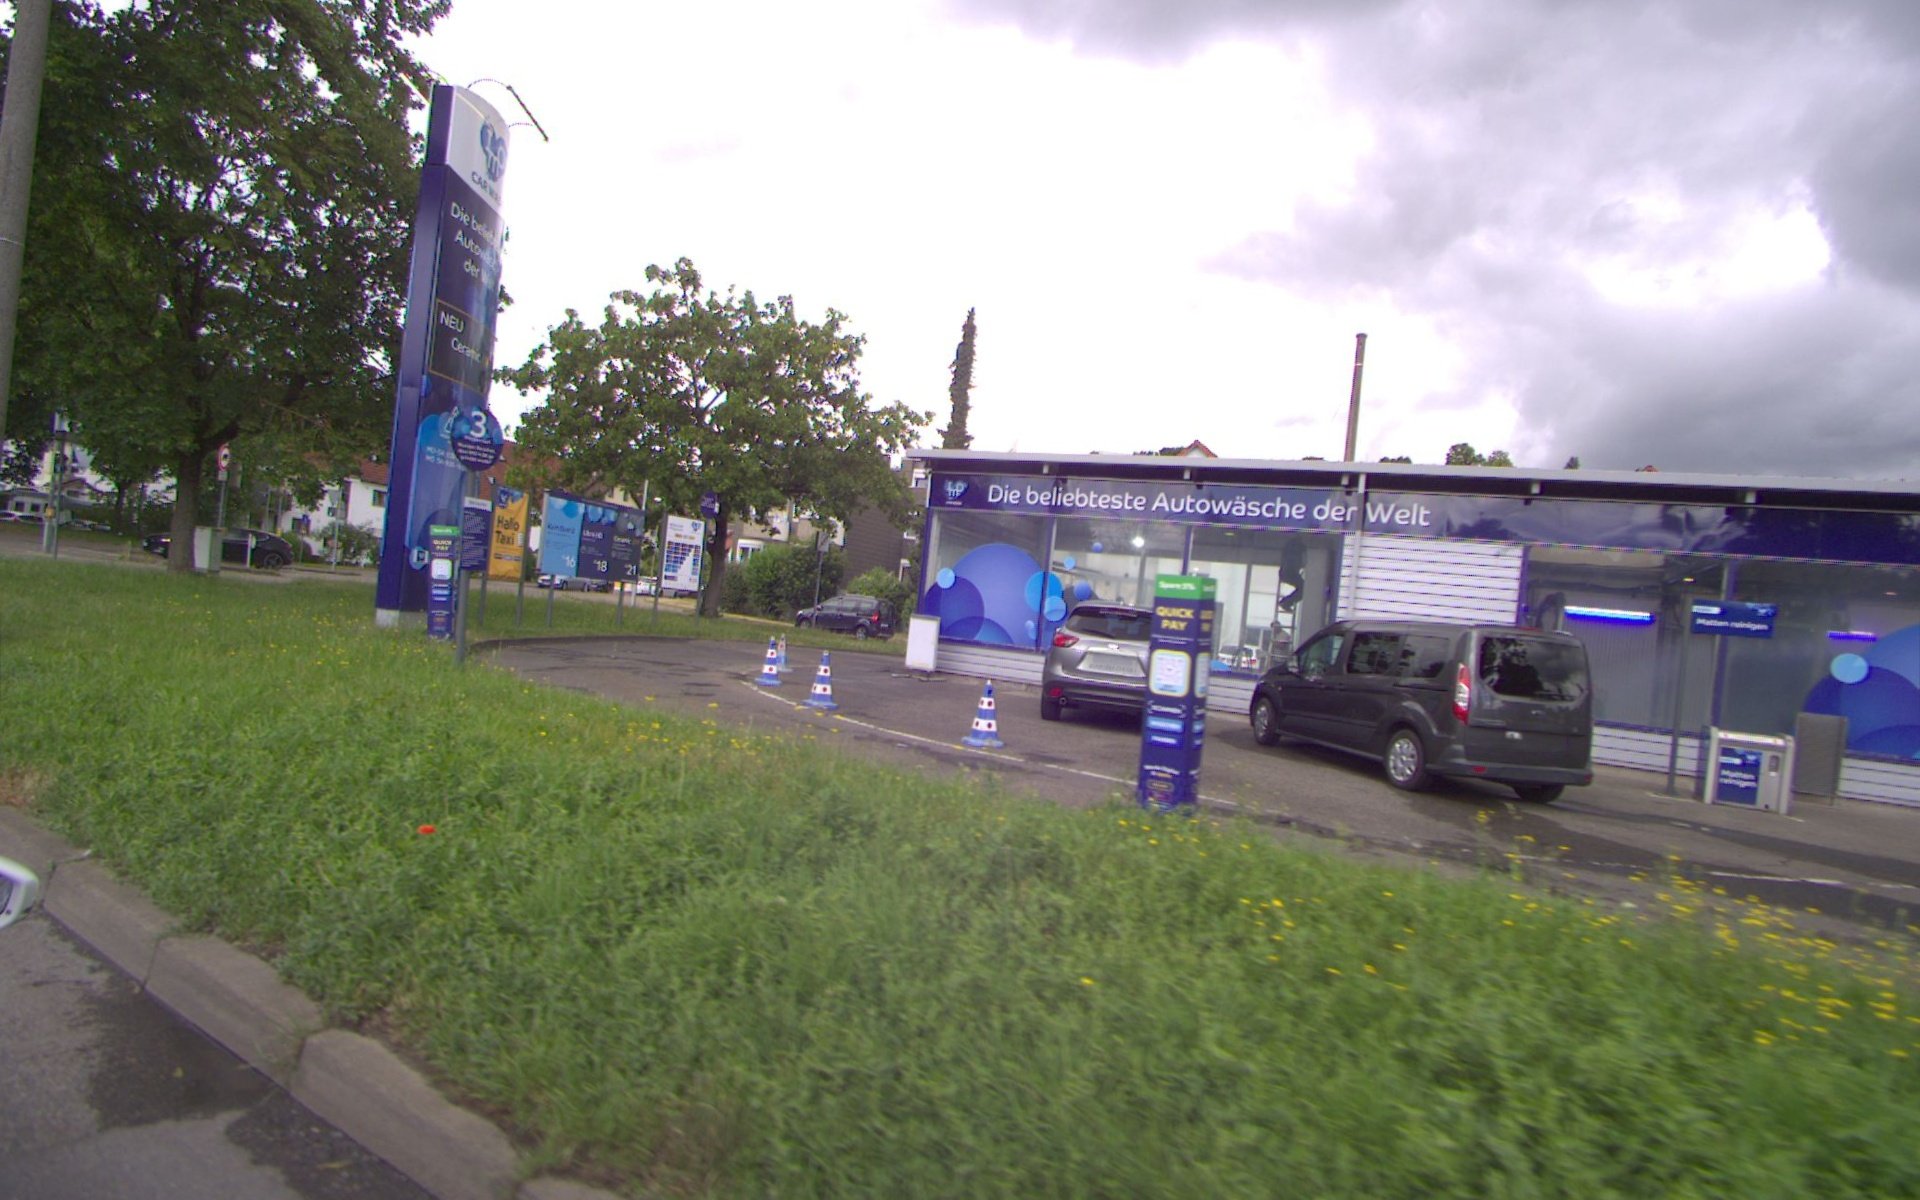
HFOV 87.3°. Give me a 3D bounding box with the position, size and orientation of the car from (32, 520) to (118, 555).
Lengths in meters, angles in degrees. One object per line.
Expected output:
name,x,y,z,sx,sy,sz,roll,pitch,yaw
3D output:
car,-47.283,-3.326,53.744,3.785,1.260,1.629,7,-3,18

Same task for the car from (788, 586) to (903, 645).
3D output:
car,-4.757,0.634,41.579,4.331,1.863,1.723,6,-3,28

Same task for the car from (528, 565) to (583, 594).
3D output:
car,-28.231,-1.375,70.333,1.963,1.441,4.474,8,-3,-1

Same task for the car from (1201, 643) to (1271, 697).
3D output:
car,10.946,2.800,39.728,1.886,1.713,3.816,6,-3,25

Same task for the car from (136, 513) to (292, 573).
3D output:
car,-26.822,-2.033,36.290,1.679,1.544,4.153,6,-2,37

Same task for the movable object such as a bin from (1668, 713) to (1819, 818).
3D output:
movable object such as a bin,9.491,1.977,12.260,1.168,0.988,1.160,6,0,28

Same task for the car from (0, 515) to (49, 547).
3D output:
car,-53.064,-3.961,56.185,3.768,1.401,1.485,7,-3,19

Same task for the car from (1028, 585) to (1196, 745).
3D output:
car,2.324,0.855,14.349,1.805,1.718,4.214,7,0,14

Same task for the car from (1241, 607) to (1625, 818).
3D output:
car,5.226,1.125,11.929,1.722,1.844,4.376,6,0,-11

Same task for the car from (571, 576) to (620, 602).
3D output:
car,-28.035,-0.848,77.464,1.963,1.441,4.474,8,-3,1

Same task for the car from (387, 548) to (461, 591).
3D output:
car,-29.452,-1.641,55.411,1.965,1.785,4.002,8,-3,-4

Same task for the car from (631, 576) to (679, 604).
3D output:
car,-21.226,-0.667,70.180,1.963,1.535,4.001,8,-1,0
